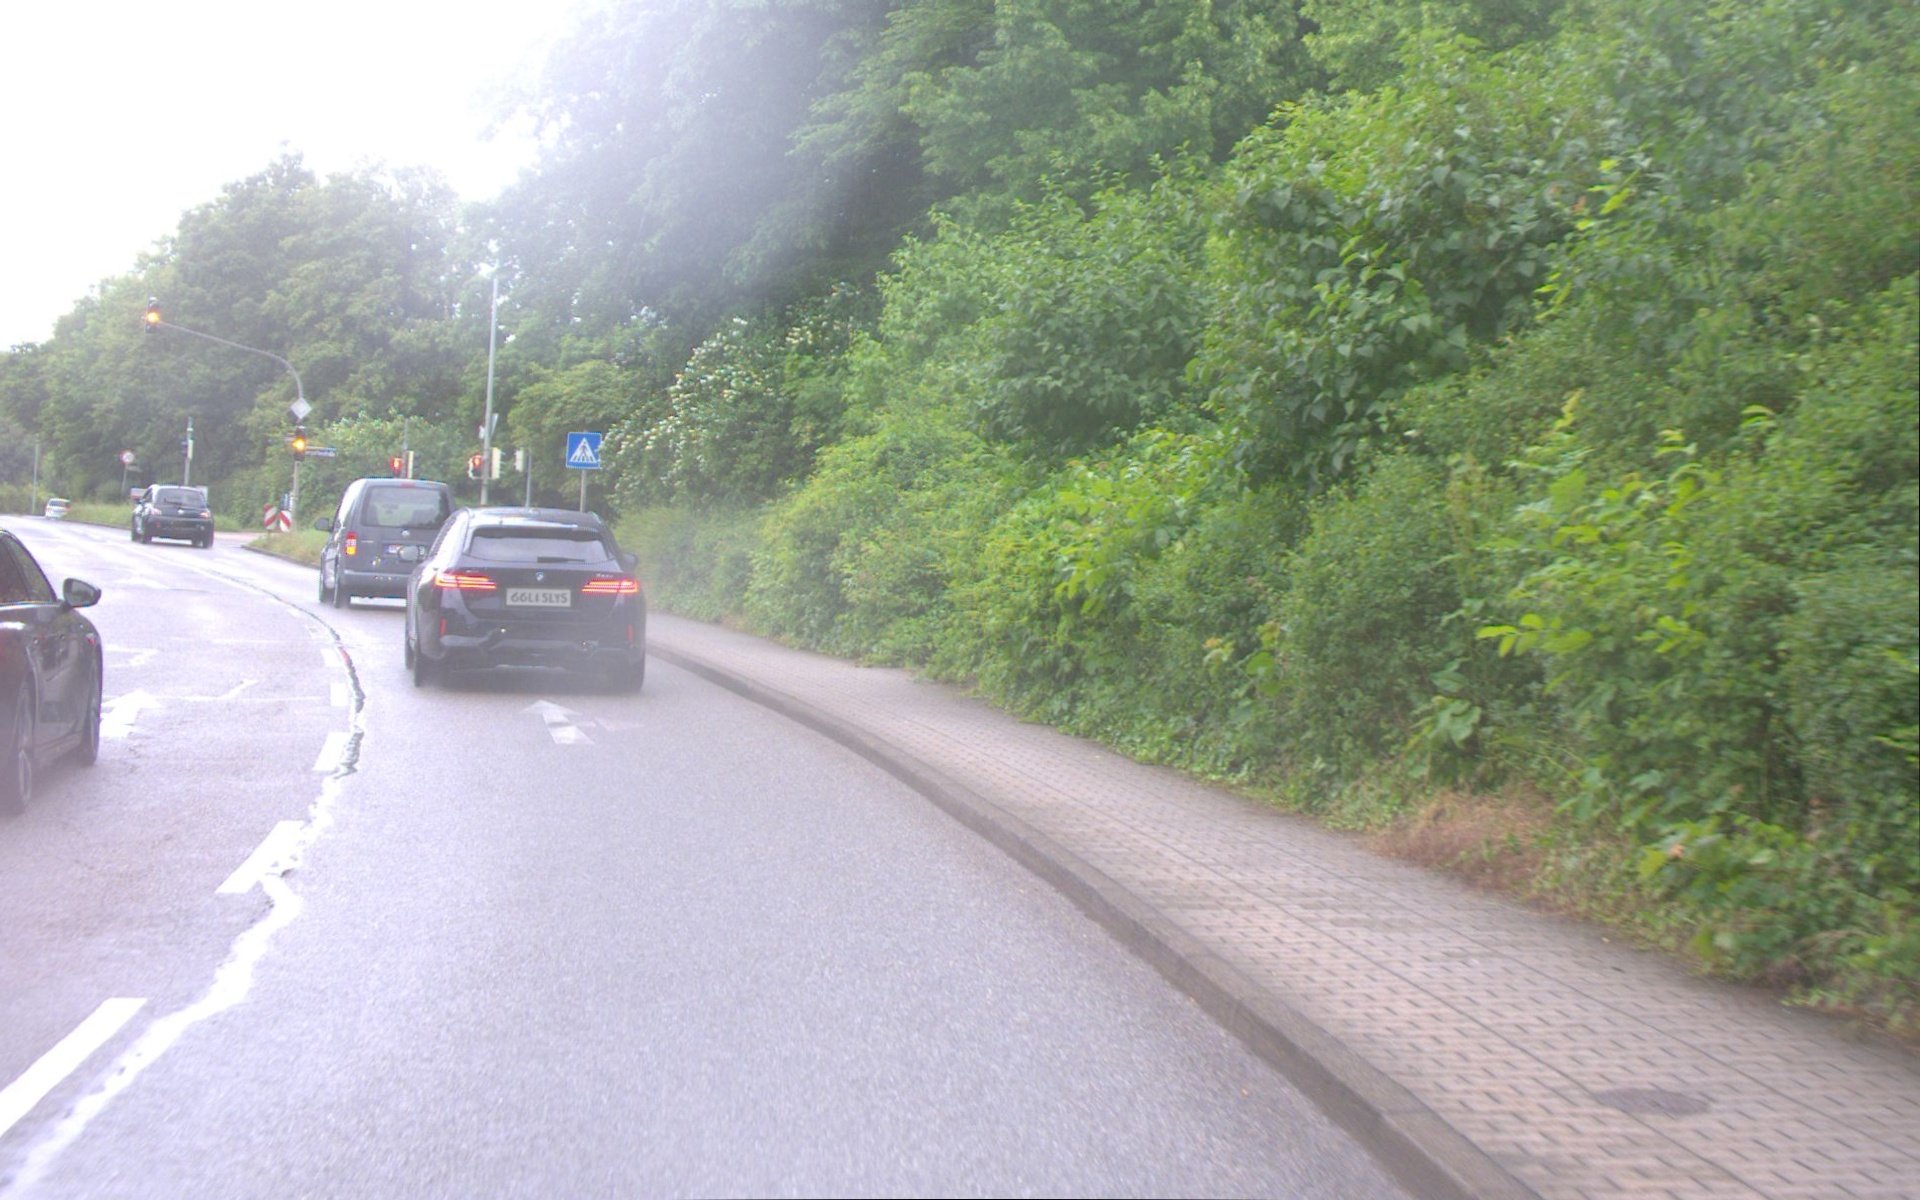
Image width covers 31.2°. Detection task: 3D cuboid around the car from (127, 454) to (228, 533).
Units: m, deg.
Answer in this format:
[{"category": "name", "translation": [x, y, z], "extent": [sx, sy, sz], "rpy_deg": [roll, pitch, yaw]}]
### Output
[{"category": "car", "translation": [-19.236, -2.592, 84.415], "extent": [1.850, 1.656, 4.001], "rpy_deg": [3, -2, -21]}]

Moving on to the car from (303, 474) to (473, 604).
[{"category": "car", "translation": [-8.154, -0.872, 48.757], "extent": [1.993, 1.742, 4.001], "rpy_deg": [1, 1, -15]}]

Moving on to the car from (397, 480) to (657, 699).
[{"category": "car", "translation": [-3.820, -0.154, 29.657], "extent": [1.993, 1.580, 4.665], "rpy_deg": [2, 3, -9]}]

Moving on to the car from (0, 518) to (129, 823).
[{"category": "car", "translation": [-5.565, 0.275, 17.986], "extent": [1.905, 1.393, 4.858], "rpy_deg": [0, 1, -8]}]
